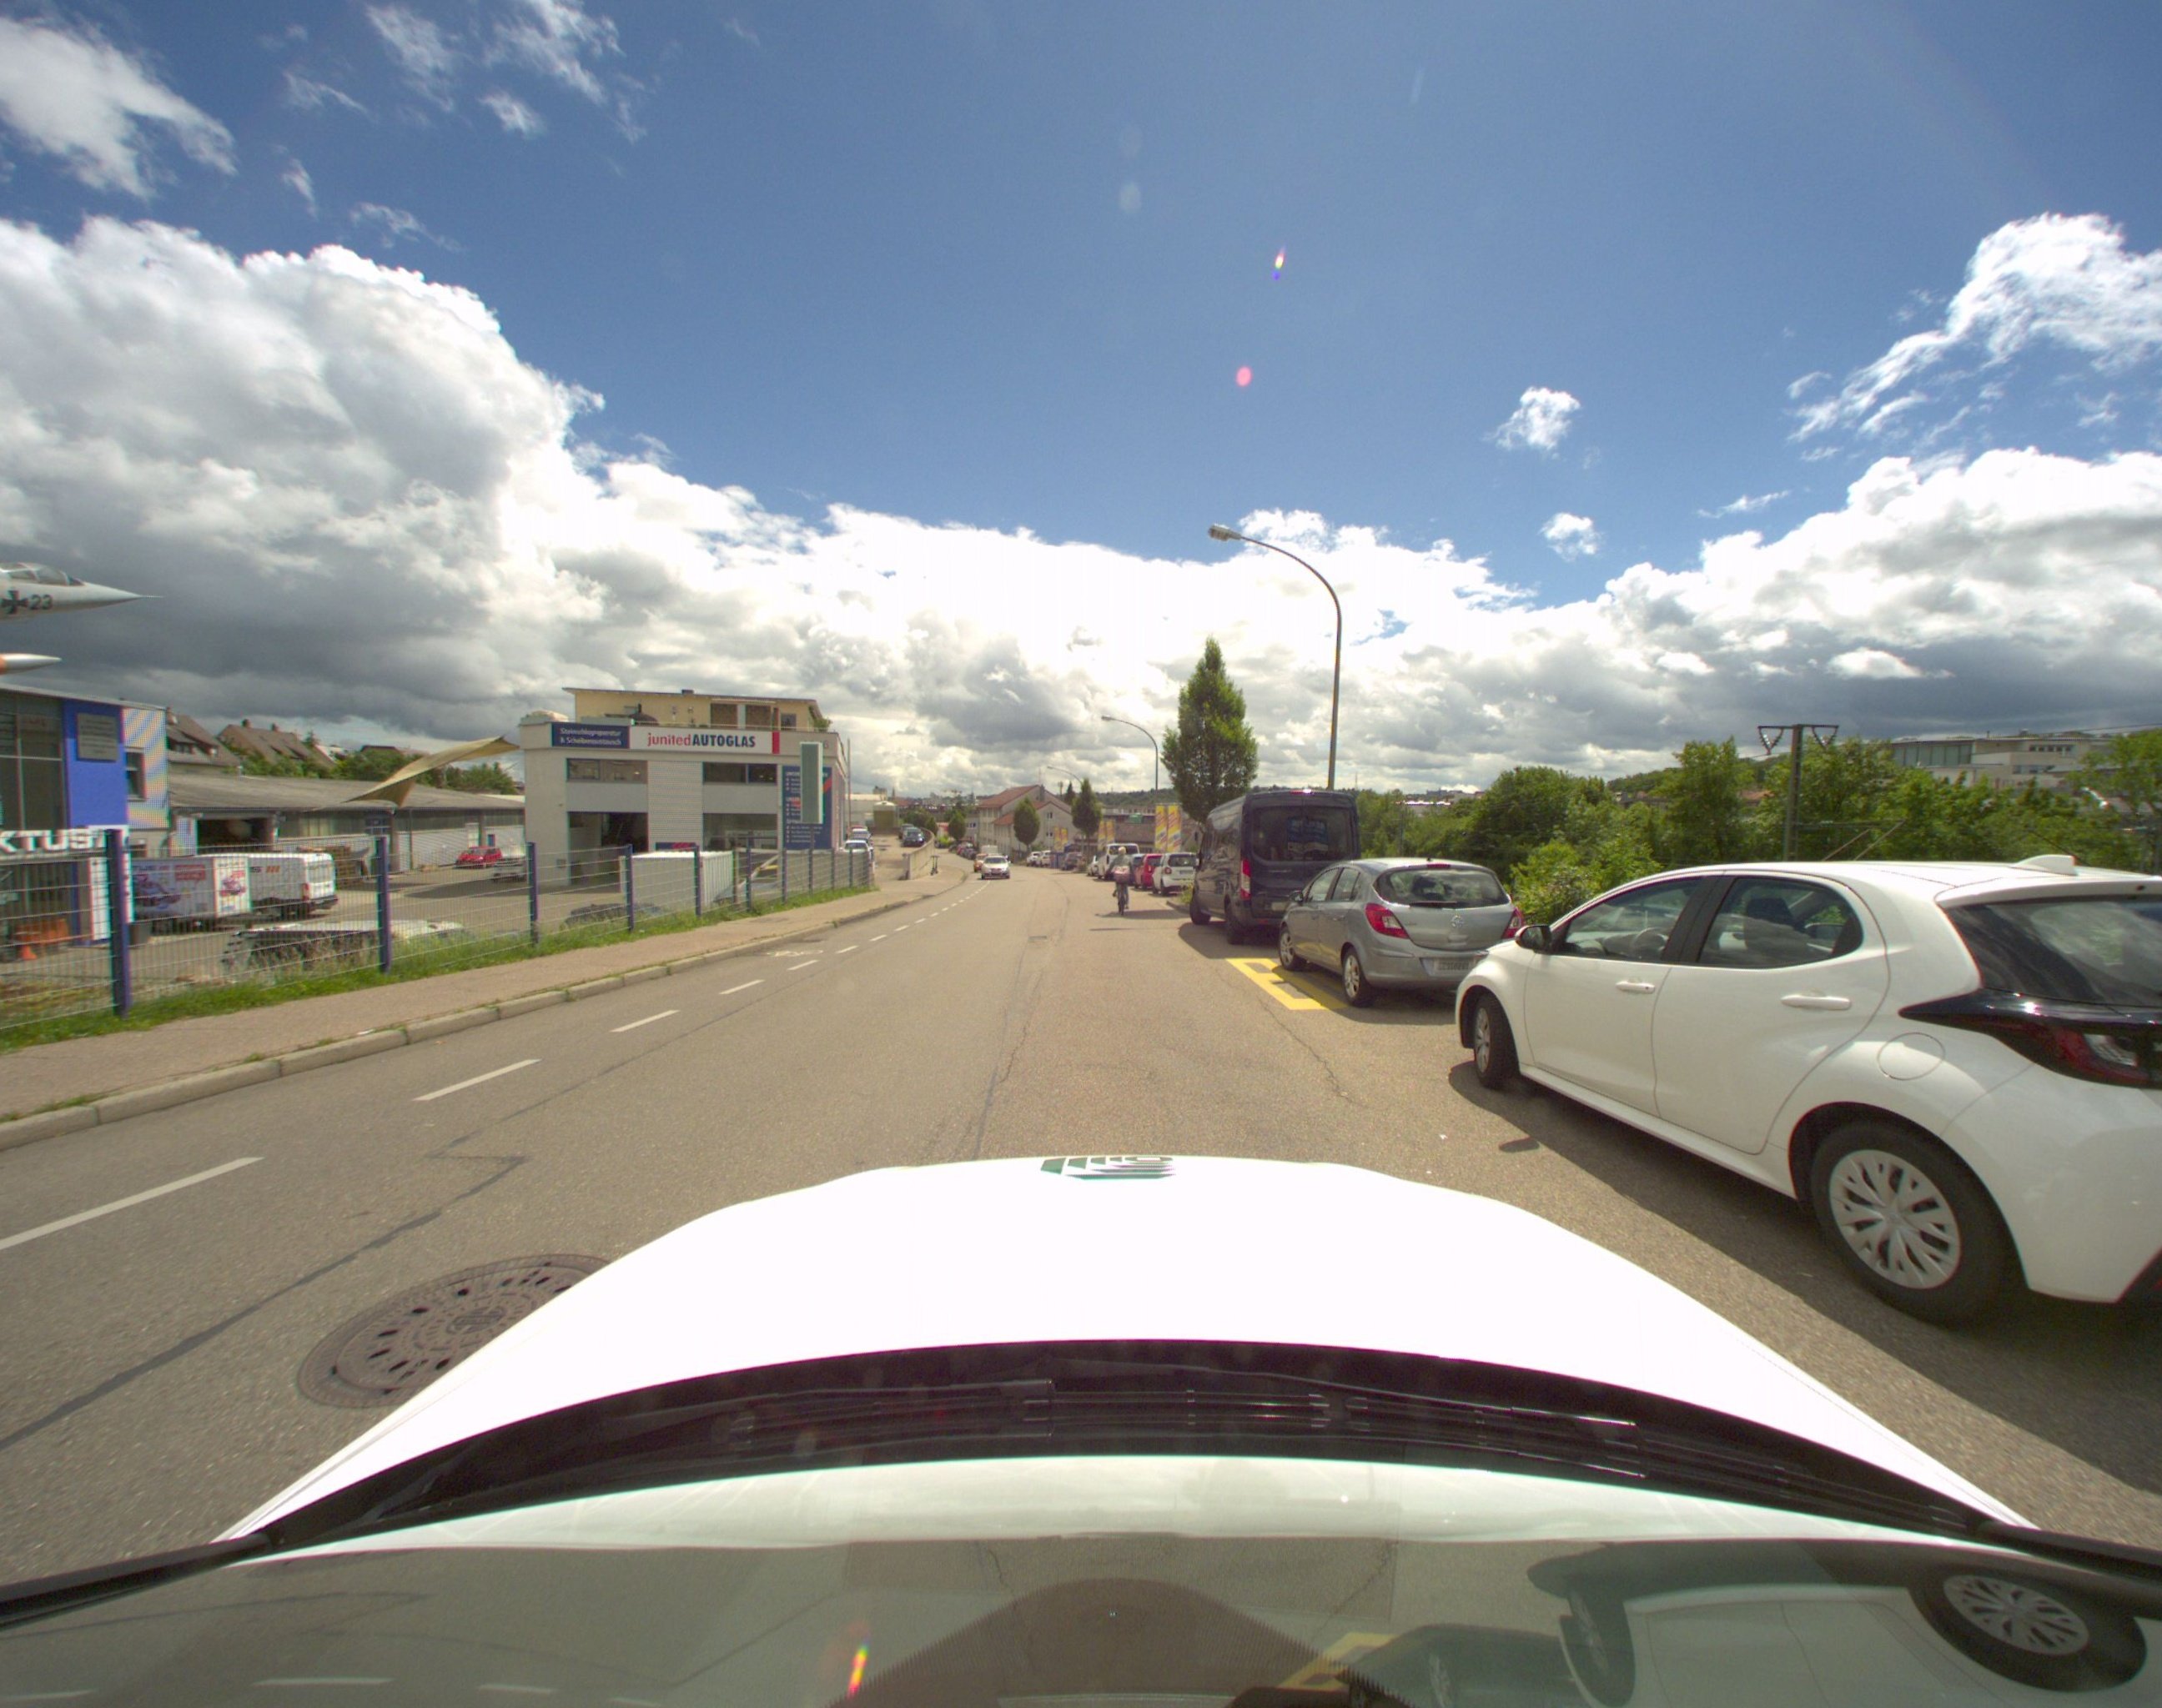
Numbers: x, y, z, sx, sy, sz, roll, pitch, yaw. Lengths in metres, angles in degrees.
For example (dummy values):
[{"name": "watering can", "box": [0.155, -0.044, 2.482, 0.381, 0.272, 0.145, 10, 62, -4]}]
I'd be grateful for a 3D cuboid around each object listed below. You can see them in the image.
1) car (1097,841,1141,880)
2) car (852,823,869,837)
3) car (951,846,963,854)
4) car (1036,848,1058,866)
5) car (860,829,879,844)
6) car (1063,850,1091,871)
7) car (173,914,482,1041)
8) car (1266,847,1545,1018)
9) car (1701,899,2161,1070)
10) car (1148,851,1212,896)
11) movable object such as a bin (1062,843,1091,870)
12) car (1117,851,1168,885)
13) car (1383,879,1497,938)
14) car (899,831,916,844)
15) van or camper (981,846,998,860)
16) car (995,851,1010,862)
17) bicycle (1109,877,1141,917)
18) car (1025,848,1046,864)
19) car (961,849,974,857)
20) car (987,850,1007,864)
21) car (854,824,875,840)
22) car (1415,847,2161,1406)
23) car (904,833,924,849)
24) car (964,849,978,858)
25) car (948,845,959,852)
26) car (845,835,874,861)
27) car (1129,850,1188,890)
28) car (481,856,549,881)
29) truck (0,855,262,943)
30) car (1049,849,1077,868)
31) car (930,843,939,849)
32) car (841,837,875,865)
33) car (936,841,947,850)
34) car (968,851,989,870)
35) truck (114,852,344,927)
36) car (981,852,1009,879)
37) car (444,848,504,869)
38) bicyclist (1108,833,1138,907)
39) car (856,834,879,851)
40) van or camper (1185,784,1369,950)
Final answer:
[{"name": "car", "box": [2.046, 0.329, 45.101, 1.989, 2.013, 4.912, 1, 0, -3]}, {"name": "car", "box": [-23.485, -2.553, 86.786, 1.672, 1.323, 3.700, -2, 0, -14]}, {"name": "car", "box": [-23.820, -0.669, 156.502, 1.995, 1.464, 3.983, -2, 0, -12]}, {"name": "car", "box": [-3.467, 0.279, 81.847, 1.812, 1.706, 3.989, -2, 0, -8]}, {"name": "car", "box": [-20.384, -1.655, 78.484, 1.672, 1.323, 3.700, -2, 0, -14]}, {"name": "car", "box": [-0.359, 0.536, 67.652, 1.990, 1.618, 3.994, -2, 0, -4]}, {"name": "car", "box": [-14.398, 2.307, 15.796, 3.978, 2.013, 1.998, -1, 0, -3]}, {"name": "car", "box": [3.406, 0.710, 9.340, 1.700, 1.510, 3.696, 1, 1, 0]}, {"name": "car", "box": [11.031, 1.539, 11.102, 1.700, 1.510, 4.529, 1, 1, 0]}, {"name": "car", "box": [3.525, 0.673, 29.459, 1.789, 1.506, 2.903, -2, 0, -3]}, {"name": "movable object such as a bin", "box": [-0.413, 0.253, 72.362, 2.133, 2.302, 2.550, -2, 0, -8]}, {"name": "car", "box": [2.838, 0.616, 38.355, 1.899, 1.442, 3.539, -2, 0, -4]}, {"name": "car", "box": [11.071, 1.620, 25.416, 1.788, 1.506, 3.877, -2, 0, -1]}, {"name": "car", "box": [-19.249, -1.835, 90.100, 1.672, 1.323, 3.701, -2, 2, -14]}, {"name": "van or camper", "box": [-13.736, -0.223, 122.374, 1.996, 2.013, 3.982, 2, 0, -14]}, {"name": "car", "box": [-10.985, 0.341, 113.513, 1.992, 1.464, 3.990, -2, 0, -8]}, {"name": "bicycle", "box": [1.088, 1.056, 20.632, 0.685, 0.878, 2.102, -2, 0, 0]}, {"name": "car", "box": [-4.904, 0.218, 87.529, 1.841, 1.706, 3.989, -2, 0, -8]}, {"name": "car", "box": [-20.933, -0.178, 150.125, 1.995, 1.464, 3.983, -2, 0, -12]}, {"name": "car", "box": [-10.251, 0.337, 99.446, 1.995, 1.618, 3.983, -2, 0, -12]}, {"name": "car", "box": [-19.491, -2.000, 73.368, 1.672, 1.323, 3.700, -2, 0, -14]}, {"name": "car", "box": [3.428, 0.736, 4.197, 1.701, 1.479, 3.956, 1, 1, -1]}, {"name": "car", "box": [-14.929, -1.162, 72.724, 1.671, 1.323, 3.704, -1, 1, -11]}, {"name": "car", "box": [-18.768, -0.055, 139.140, 1.995, 1.464, 3.983, -2, 0, -12]}, {"name": "car", "box": [-26.892, -1.169, 172.110, 1.996, 1.420, 3.982, -2, 0, -13]}, {"name": "car", "box": [-14.892, -0.401, 54.876, 1.698, 1.629, 3.700, -2, 0, -14]}, {"name": "car", "box": [3.150, 0.613, 33.831, 1.871, 1.508, 3.996, -2, 0, -3]}, {"name": "car", "box": [-32.625, 0.800, 47.076, 1.998, 1.354, 3.978, 0, 0, -16]}, {"name": "truck", "box": [-32.871, 1.486, 28.355, 5.788, 2.706, 2.168, -2, 0, -13]}, {"name": "car", "box": [-1.726, 0.431, 76.462, 2.133, 1.706, 3.989, -2, 0, -8]}, {"name": "car", "box": [-36.335, -1.932, 201.991, 1.996, 1.420, 3.982, -2, 0, -13]}, {"name": "car", "box": [-13.708, -0.180, 50.290, 1.850, 1.650, 3.981, -2, 0, -14]}, {"name": "car", "box": [-34.004, -2.051, 198.154, 1.998, 2.013, 3.978, 2, 0, -16]}, {"name": "car", "box": [-8.840, 0.532, 70.033, 1.707, 1.574, 3.990, -2, 0, -7]}, {"name": "truck", "box": [-32.620, 1.293, 31.430, 5.788, 2.574, 2.197, -2, 0, -13]}, {"name": "car", "box": [-5.416, 0.683, 51.230, 1.700, 1.562, 4.318, -1, 0, -7]}, {"name": "car", "box": [-41.658, 0.291, 55.988, 1.998, 1.354, 3.978, 0, 0, -16]}, {"name": "bicyclist", "box": [1.063, 0.395, 20.718, 0.682, 1.825, 1.080, -2, 0, 0]}, {"name": "car", "box": [-17.517, -0.931, 66.916, 1.672, 1.323, 3.700, -2, 0, -14]}, {"name": "van or camper", "box": [3.429, 0.187, 15.625, 2.118, 2.585, 5.916, 0, 0, 0]}]
